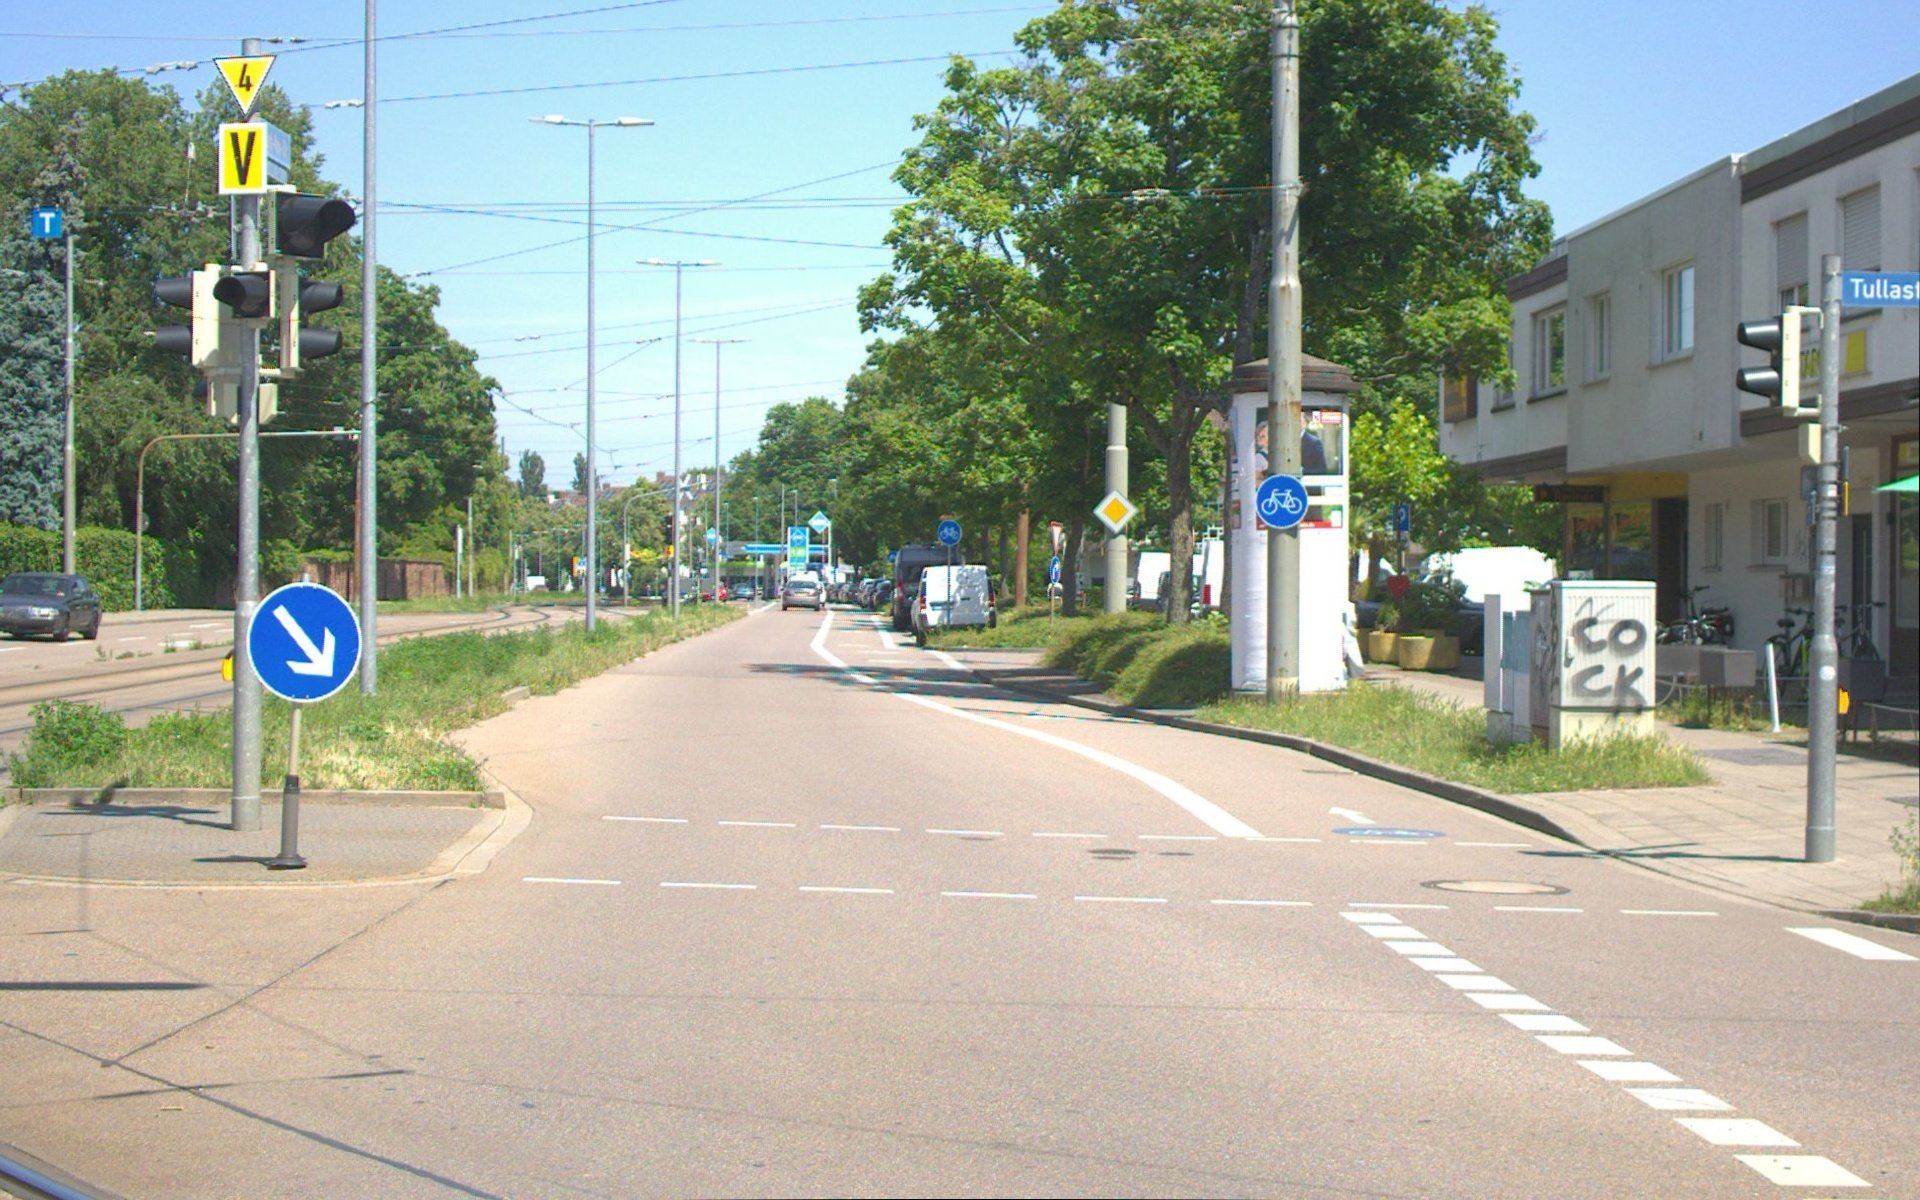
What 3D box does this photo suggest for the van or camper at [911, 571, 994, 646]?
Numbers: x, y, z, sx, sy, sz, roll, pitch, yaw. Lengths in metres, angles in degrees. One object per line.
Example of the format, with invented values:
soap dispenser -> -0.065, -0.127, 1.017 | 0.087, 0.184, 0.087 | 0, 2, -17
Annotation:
van or camper -> -0.215, 0.191, 84.201 | 1.922, 1.766, 4.000 | 1, 0, -1

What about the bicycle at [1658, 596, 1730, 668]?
bicycle -> 11.176, 0.483, 52.383 | 0.507, 1.062, 1.864 | 2, 0, -5

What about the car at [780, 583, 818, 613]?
car -> -7.542, -0.103, 160.880 | 1.636, 1.346, 3.842 | 1, 0, -4

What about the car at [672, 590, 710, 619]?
car -> -10.283, 0.168, 131.286 | 1.291, 1.051, 2.601 | 1, 0, -7

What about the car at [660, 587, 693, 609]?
car -> -14.318, -0.098, 173.946 | 1.492, 1.043, 3.580 | 1, 0, -2

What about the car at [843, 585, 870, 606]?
car -> -6.596, -0.261, 219.233 | 1.523, 1.292, 3.493 | 1, 1, -4

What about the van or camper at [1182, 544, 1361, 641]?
van or camper -> 8.815, -0.210, 97.491 | 4.756, 2.662, 2.136 | 1, 0, -3

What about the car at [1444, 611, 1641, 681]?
car -> 11.661, 0.914, 68.887 | 3.606, 1.346, 1.491 | 1, 0, -8

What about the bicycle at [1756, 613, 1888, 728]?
bicycle -> 9.377, 0.747, 37.500 | 0.989, 1.160, 2.636 | 1, 0, 5

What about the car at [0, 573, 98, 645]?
car -> -19.388, 0.160, 72.221 | 1.641, 1.395, 4.116 | 2, 0, -3

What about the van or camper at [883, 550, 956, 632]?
van or camper -> -1.279, -0.287, 106.496 | 1.993, 2.456, 4.001 | 1, 0, -4

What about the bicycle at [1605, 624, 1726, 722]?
bicycle -> 7.891, 0.797, 38.590 | 1.034, 1.011, 2.636 | 1, 1, 5

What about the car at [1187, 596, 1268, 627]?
car -> 8.593, 0.375, 110.511 | 2.588, 0.959, 1.149 | 1, 0, 4

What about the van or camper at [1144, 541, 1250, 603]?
van or camper -> 8.394, -1.006, 121.875 | 3.557, 2.138, 1.603 | 1, 0, -3
